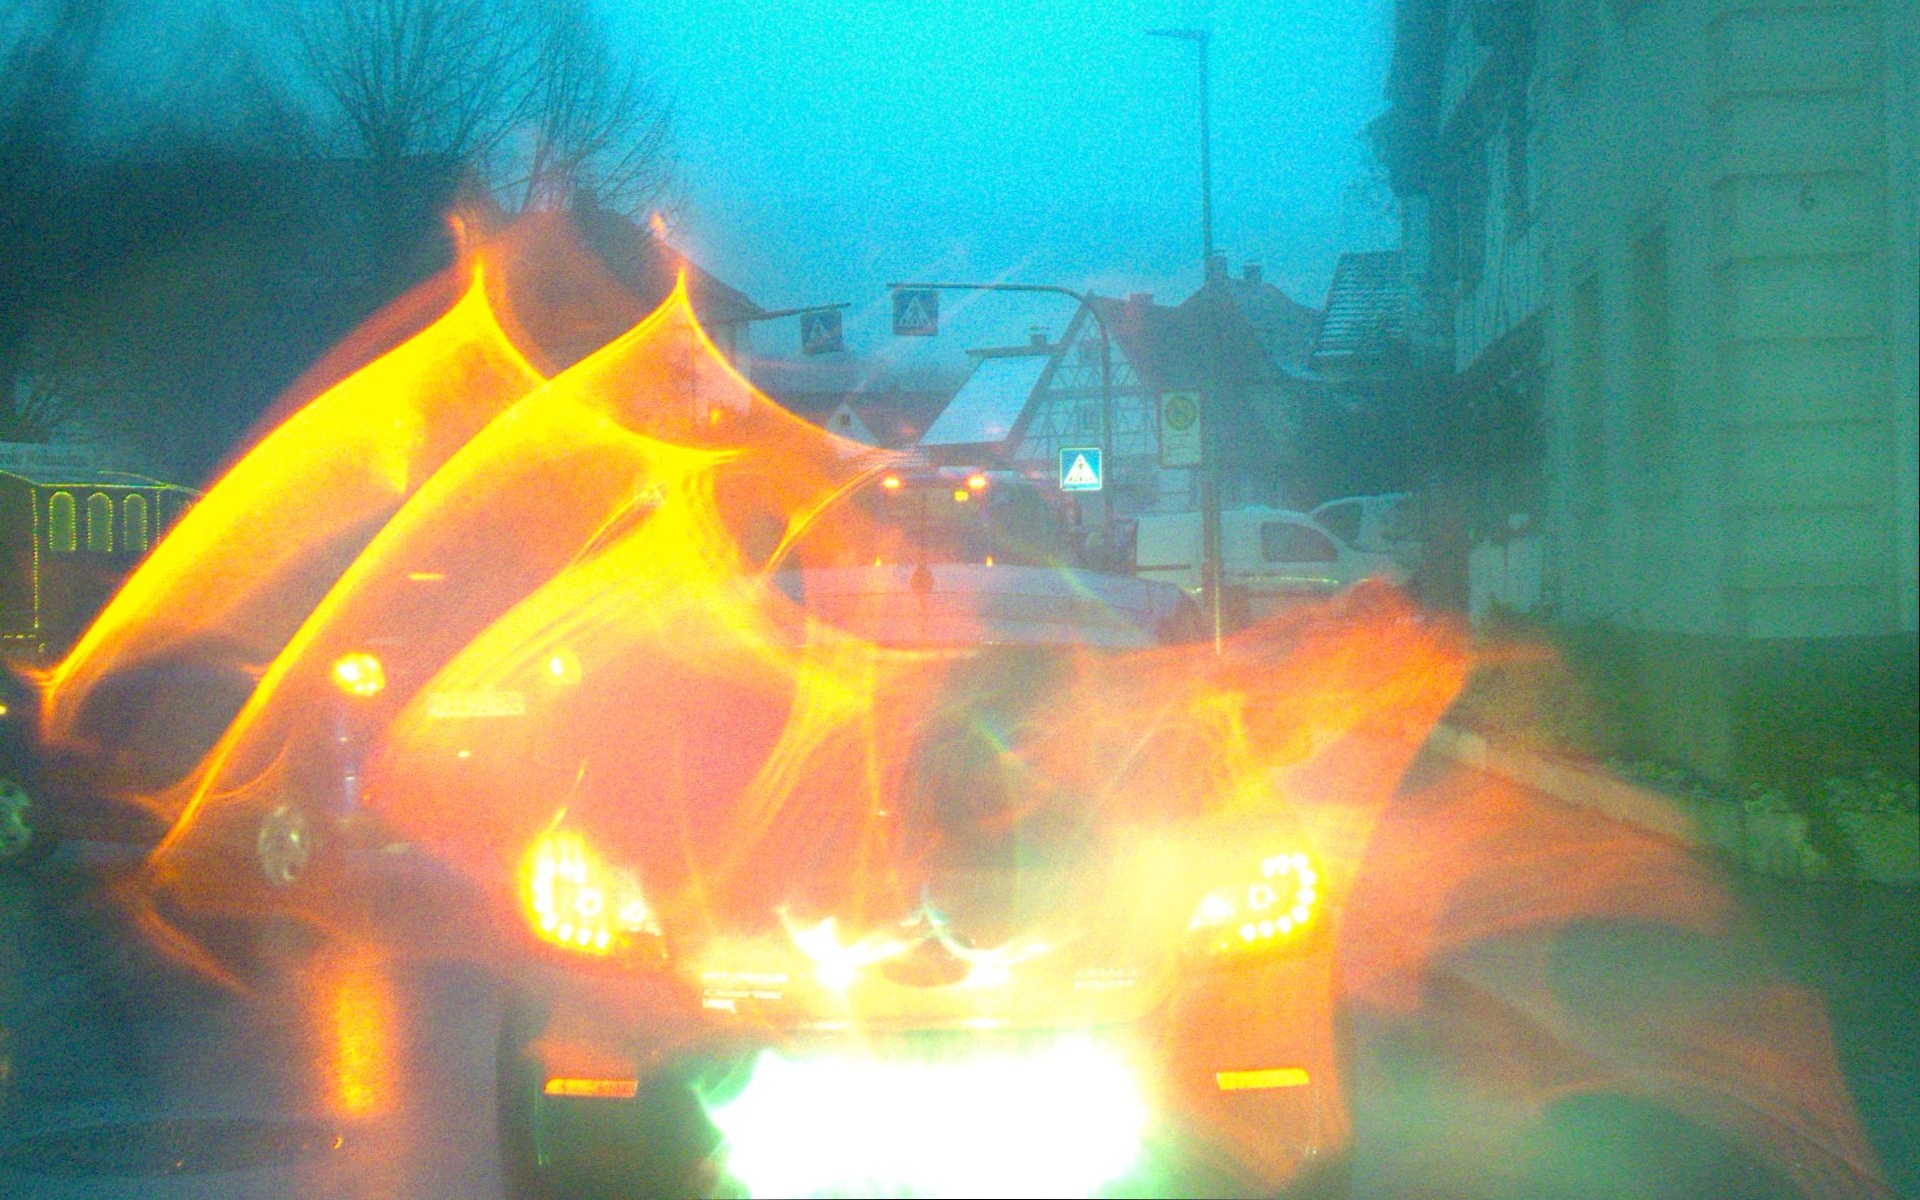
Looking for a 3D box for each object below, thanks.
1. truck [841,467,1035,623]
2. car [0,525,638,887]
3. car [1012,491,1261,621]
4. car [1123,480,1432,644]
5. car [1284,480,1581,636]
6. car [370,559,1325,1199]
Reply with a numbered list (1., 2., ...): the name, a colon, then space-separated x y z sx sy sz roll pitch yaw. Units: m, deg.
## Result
1. truck: -0.361 -1.169 72.719 3.016 3.118 7.998 0 1 8
2. car: -3.177 0.397 15.756 3.269 1.476 1.639 1 2 43
3. car: 3.027 -0.750 58.504 4.098 2.144 1.913 0 1 7
4. car: 4.340 -0.519 46.872 4.098 2.155 1.913 0 1 7
5. car: 6.723 -0.605 49.128 4.098 2.144 1.913 0 1 7
6. car: -0.210 0.649 7.594 1.638 1.476 3.379 0 1 -1
